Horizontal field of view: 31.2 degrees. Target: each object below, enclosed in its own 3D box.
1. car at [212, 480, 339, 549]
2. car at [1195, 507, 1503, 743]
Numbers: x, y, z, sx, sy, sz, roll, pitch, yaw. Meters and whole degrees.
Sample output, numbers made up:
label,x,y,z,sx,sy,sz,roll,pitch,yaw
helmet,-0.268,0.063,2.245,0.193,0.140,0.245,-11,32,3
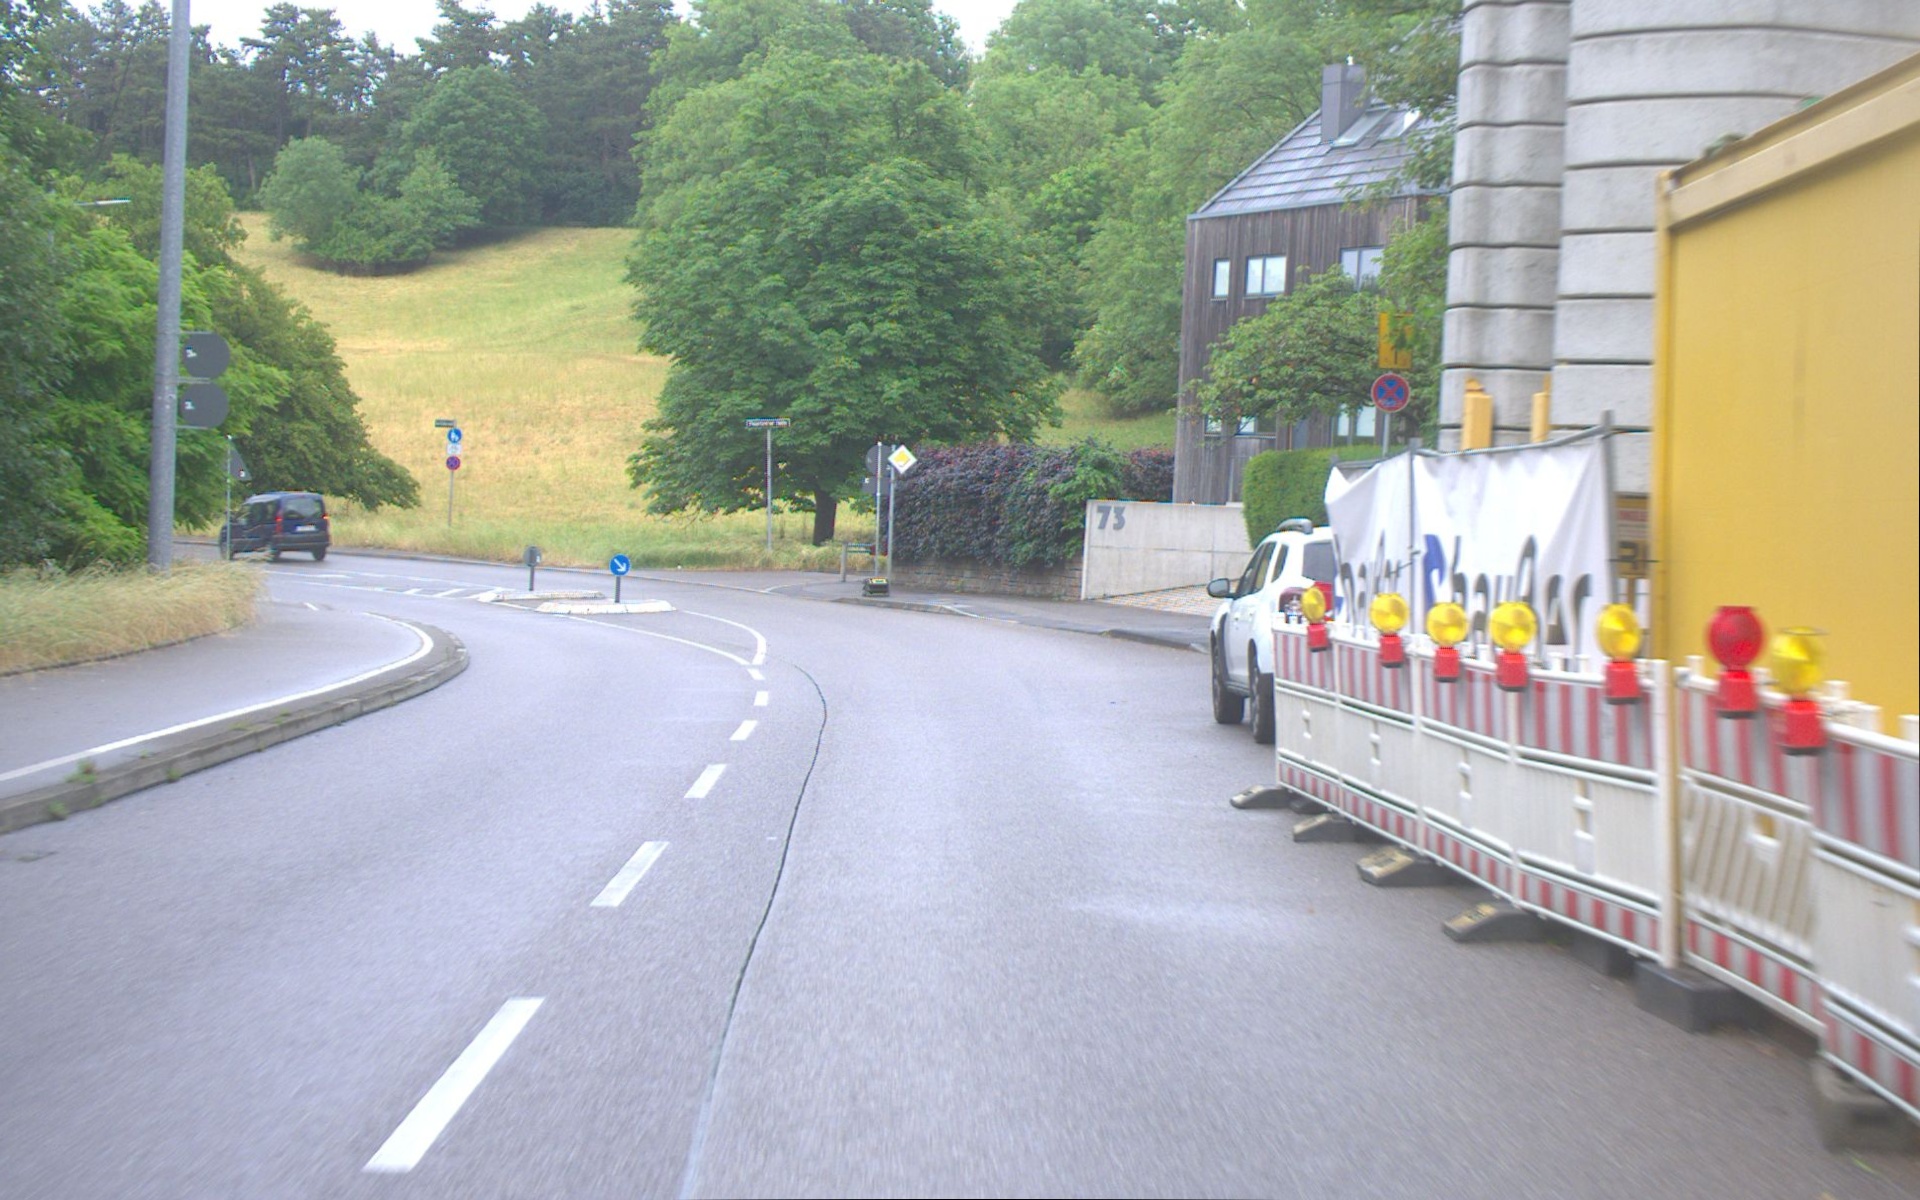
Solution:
label,x,y,z,sx,sy,sz,roll,pitch,yaw
car,-18.424,-2.305,92.429,1.932,1.745,4.000,1,1,-33
car,2.964,0.131,27.098,1.745,1.700,4.502,0,1,-2
